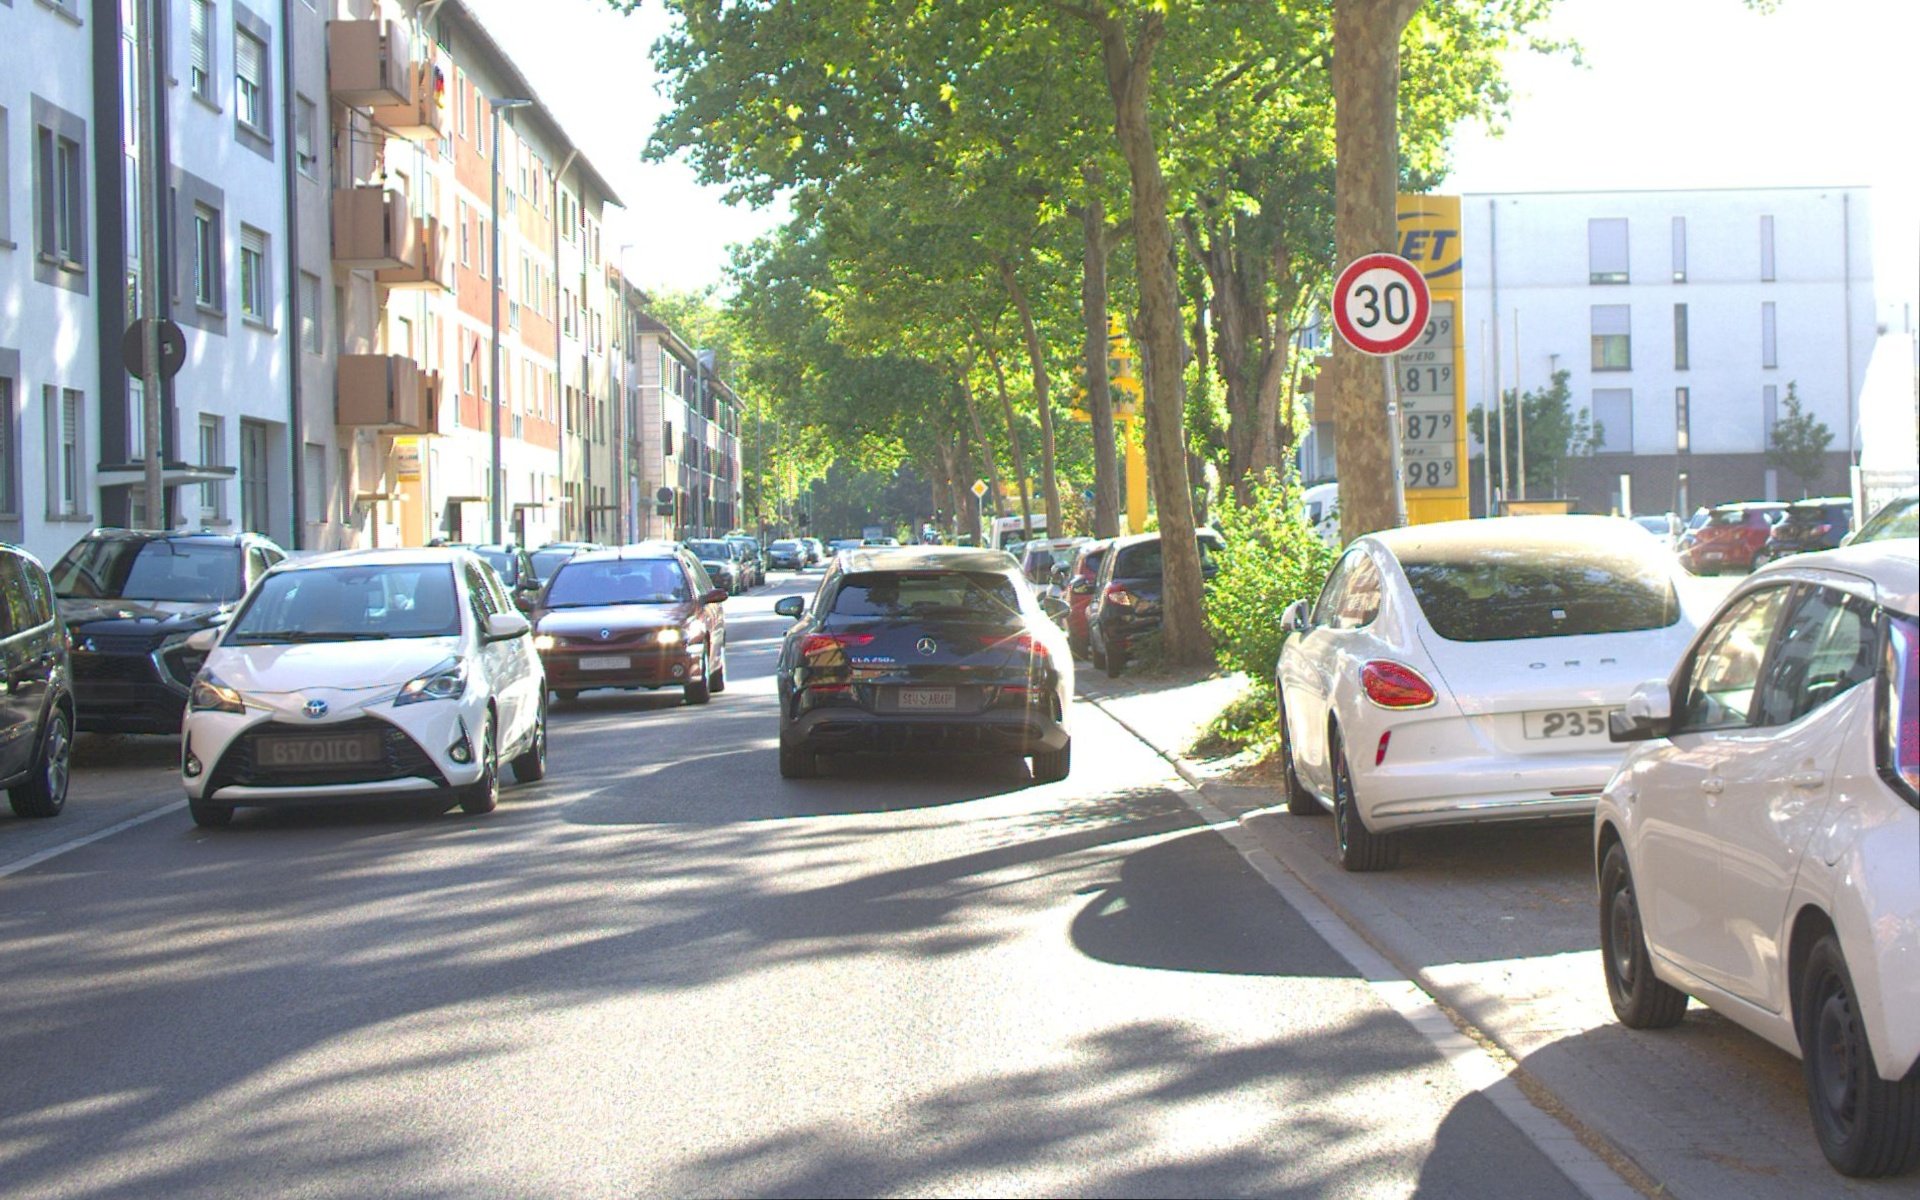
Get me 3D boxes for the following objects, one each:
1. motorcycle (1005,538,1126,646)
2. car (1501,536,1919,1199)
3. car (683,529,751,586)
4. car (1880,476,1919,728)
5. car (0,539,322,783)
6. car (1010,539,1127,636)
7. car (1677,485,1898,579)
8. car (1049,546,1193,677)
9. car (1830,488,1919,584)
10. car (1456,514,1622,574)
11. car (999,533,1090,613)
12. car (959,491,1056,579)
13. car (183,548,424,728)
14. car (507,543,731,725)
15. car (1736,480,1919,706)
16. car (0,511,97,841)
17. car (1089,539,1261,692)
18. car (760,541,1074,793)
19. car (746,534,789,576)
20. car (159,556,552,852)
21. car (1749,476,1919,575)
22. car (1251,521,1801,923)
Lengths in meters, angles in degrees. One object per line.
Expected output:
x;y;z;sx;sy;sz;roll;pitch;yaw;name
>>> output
1.532;-0.118;49.862;1.641;1.552;0.612;0;1;-22;motorcycle
2.738;0.562;9.666;1.635;1.463;4.021;-3;1;-1;car
-7.096;-1.250;100.647;1.712;1.556;3.801;3;1;-1;car
7.863;-0.075;22.154;3.808;1.573;1.741;-3;2;-37;car
-5.927;0.382;25.720;1.596;1.635;4.413;0;1;-2;car
1.778;-0.225;57.091;1.722;1.552;3.601;0;1;-2;car
16.359;-1.340;68.000;3.824;1.706;1.841;-2;1;-18;car
2.015;0.117;43.835;1.559;1.590;3.601;0;1;-2;car
16.926;-1.135;58.651;3.825;1.583;1.698;-2;1;-27;car
15.132;-1.459;89.957;3.986;1.524;1.807;-1;0;-2;car
1.683;-0.544;69.148;1.633;1.552;3.601;0;1;-2;car
1.120;-1.537;82.311;1.993;2.007;4.000;0;0;-4;car
-5.989;0.298;31.739;1.547;1.518;4.005;0;1;-2;car
-3.168;0.265;32.653;1.663;1.518;4.412;-2;1;0;car
7.799;-0.133;25.872;3.808;1.573;1.746;-3;2;-37;car
-6.054;0.405;18.572;1.745;1.781;4.550;0;1;-2;car
2.317;0.138;37.801;1.559;1.590;3.601;0;1;-2;car
-0.190;0.360;22.150;1.744;1.438;3.969;1;1;3;car
-9.262;-2.181;165.911;1.907;1.941;4.000;0;0;-1;car
-3.455;0.530;20.289;1.639;1.518;3.934;-1;1;0;car
16.616;-1.380;63.148;3.825;1.706;1.841;-2;1;-27;car
2.515;0.476;16.391;1.810;1.533;4.583;-4;1;1;car
